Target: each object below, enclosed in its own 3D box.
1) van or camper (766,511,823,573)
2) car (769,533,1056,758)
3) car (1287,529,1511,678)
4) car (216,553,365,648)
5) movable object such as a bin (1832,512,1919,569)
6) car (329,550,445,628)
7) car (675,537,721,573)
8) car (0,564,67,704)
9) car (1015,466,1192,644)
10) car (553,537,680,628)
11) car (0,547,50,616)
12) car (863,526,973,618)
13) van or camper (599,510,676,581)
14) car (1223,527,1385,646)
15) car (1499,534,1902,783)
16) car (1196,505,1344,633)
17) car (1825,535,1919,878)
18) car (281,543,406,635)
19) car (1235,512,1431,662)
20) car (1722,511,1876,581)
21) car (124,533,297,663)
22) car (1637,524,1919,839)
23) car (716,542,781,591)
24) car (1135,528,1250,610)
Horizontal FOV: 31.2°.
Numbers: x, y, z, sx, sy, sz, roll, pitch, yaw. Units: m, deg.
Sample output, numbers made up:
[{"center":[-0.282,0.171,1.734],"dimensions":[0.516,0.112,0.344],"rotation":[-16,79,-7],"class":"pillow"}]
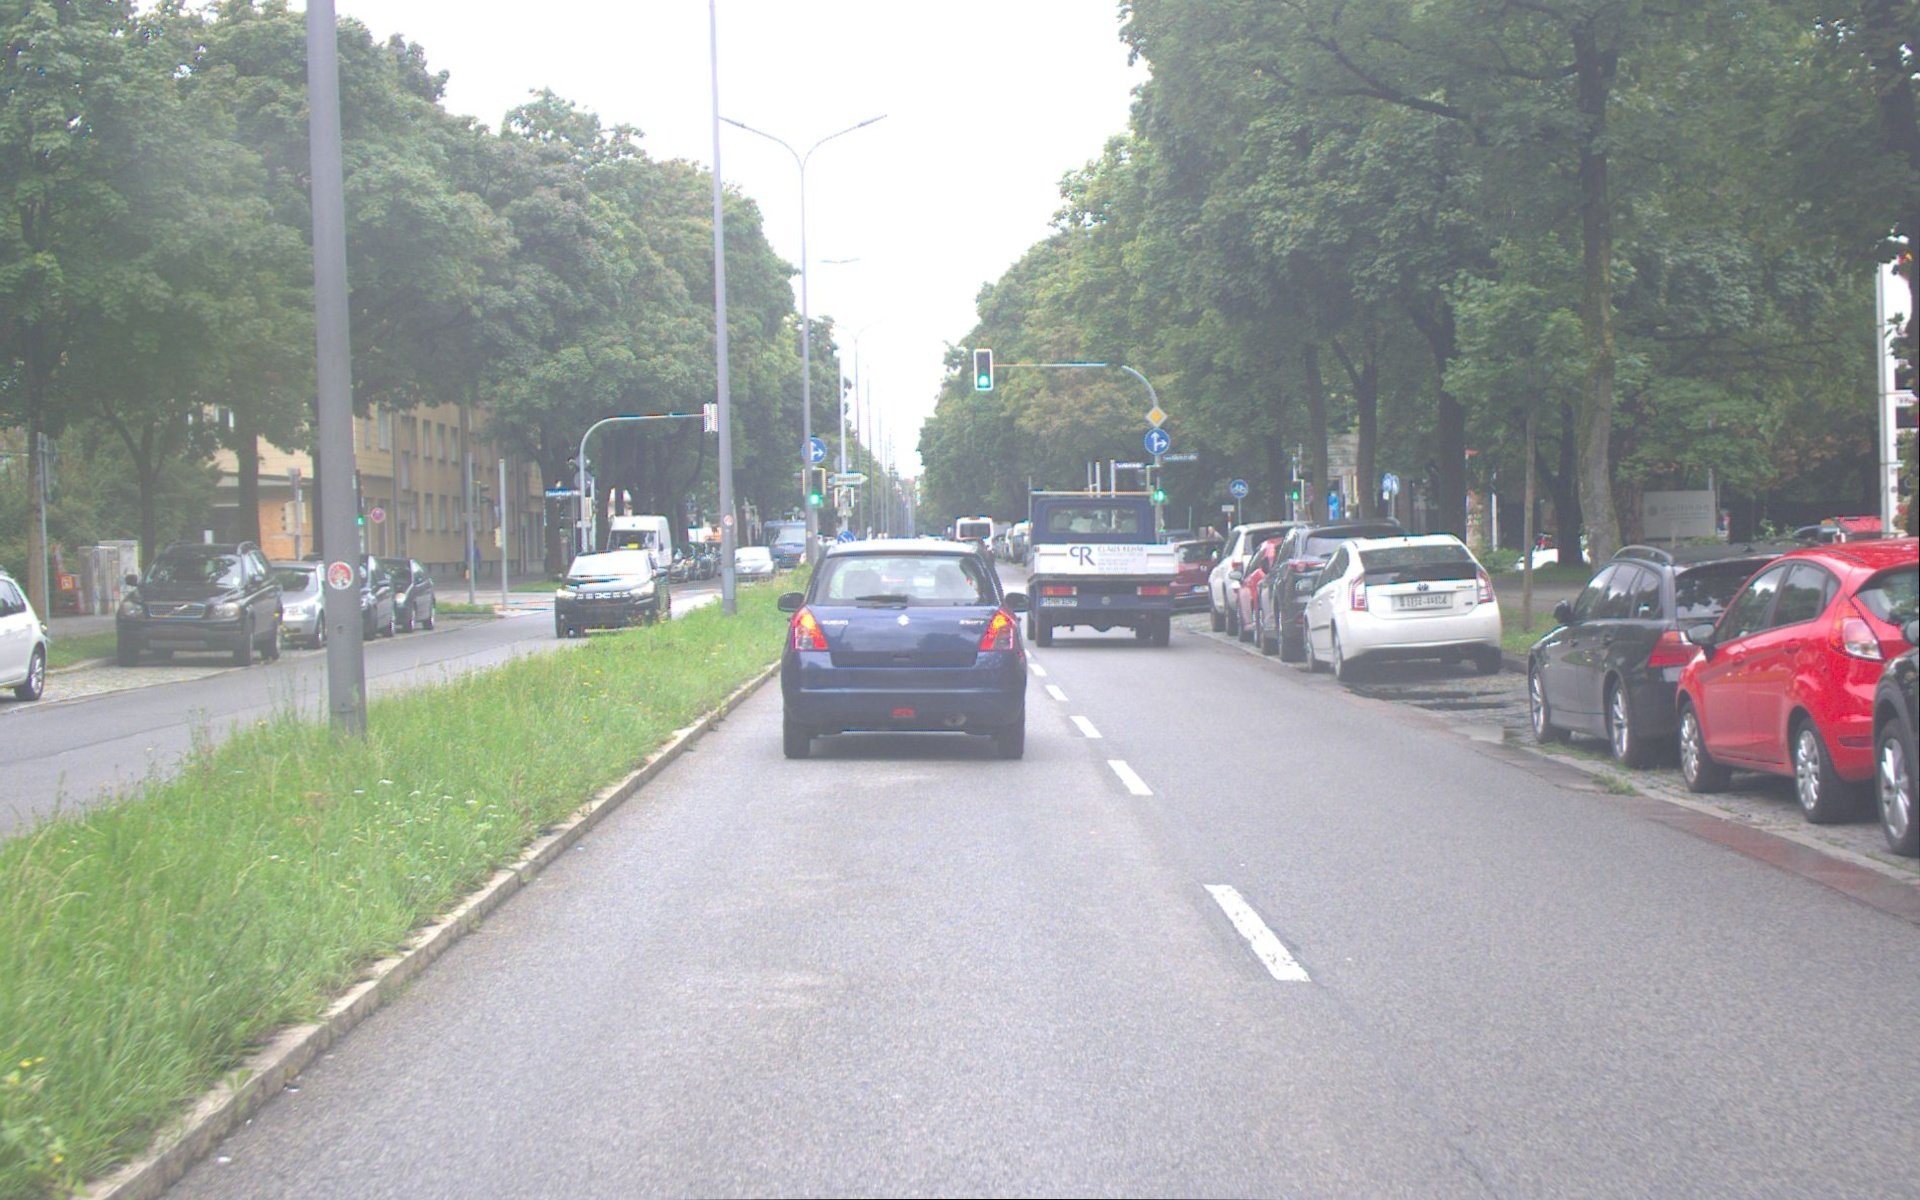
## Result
[{"center":[-6.389,-2.259,133.246],"dimensions":[2.023,2.253,6.022],"rotation":[-2,1,-1],"class":"van or camper"},{"center":[-0.415,0.267,24.717],"dimensions":[1.896,1.494,3.661],"rotation":[0,1,-3],"class":"car"},{"center":[4.770,-0.008,37.943],"dimensions":[1.760,1.448,4.633],"rotation":[-3,1,-1],"class":"car"},{"center":[-11.179,-0.022,57.656],"dimensions":[1.666,1.440,4.375],"rotation":[2,1,-1],"class":"car"},{"center":[21.296,-1.373,79.095],"dimensions":[2.059,1.258,1.531],"rotation":[-1,1,0],"class":"movable object such as a bin"},{"center":[-11.342,-0.239,68.238],"dimensions":[1.564,1.445,3.838],"rotation":[2,1,1],"class":"car"},{"center":[-11.132,-1.940,145.986],"dimensions":[1.636,1.437,3.735],"rotation":[-2,1,0],"class":"car"},{"center":[-11.031,0.357,37.025],"dimensions":[1.674,1.438,4.320],"rotation":[2,1,0],"class":"car"},{"center":[2.004,-0.671,49.557],"dimensions":[2.419,2.435,5.087],"rotation":[0,1,1],"class":"car"},{"center":[-5.871,-0.323,59.179],"dimensions":[1.739,1.435,4.215],"rotation":[-2,1,0],"class":"car"},{"center":[-21.649,-0.377,74.085],"dimensions":[3.632,1.457,1.672],"rotation":[-1,1,-3],"class":"car"},{"center":[-0.715,-0.506,59.097],"dimensions":[1.799,1.494,3.660],"rotation":[-1,1,0],"class":"car"},{"center":[-11.745,-2.013,125.564],"dimensions":[2.140,2.467,6.259],"rotation":[-2,1,0],"class":"van or camper"},{"center":[4.813,-0.226,48.562],"dimensions":[1.760,1.501,4.144],"rotation":[-3,1,-1],"class":"car"},{"center":[4.972,0.322,23.698],"dimensions":[1.675,1.448,4.583],"rotation":[-3,1,-1],"class":"car"},{"center":[4.783,-0.515,53.609],"dimensions":[1.760,1.824,4.529],"rotation":[-3,1,-1],"class":"car"},{"center":[5.144,0.461,14.812],"dimensions":[1.779,1.506,4.285],"rotation":[-3,1,1],"class":"car"},{"center":[-11.204,-0.231,62.682],"dimensions":[1.666,1.557,4.300],"rotation":[-1,1,-3],"class":"car"},{"center":[4.646,-0.215,43.503],"dimensions":[1.760,1.692,5.230],"rotation":[-3,1,-1],"class":"car"},{"center":[23.601,-1.525,96.813],"dimensions":[3.881,1.605,1.932],"rotation":[-5,1,7],"class":"car"},{"center":[-11.025,-0.072,50.866],"dimensions":[1.796,1.757,5.059],"rotation":[2,1,-4],"class":"car"},{"center":[5.089,0.367,19.274],"dimensions":[1.675,1.496,4.022],"rotation":[-3,1,-1],"class":"car"},{"center":[-6.629,-1.068,107.866],"dimensions":[1.737,1.437,4.103],"rotation":[-2,1,0],"class":"car"},{"center":[4.534,-0.633,67.555],"dimensions":[1.712,1.419,4.284],"rotation":[-5,1,-2],"class":"car"}]
